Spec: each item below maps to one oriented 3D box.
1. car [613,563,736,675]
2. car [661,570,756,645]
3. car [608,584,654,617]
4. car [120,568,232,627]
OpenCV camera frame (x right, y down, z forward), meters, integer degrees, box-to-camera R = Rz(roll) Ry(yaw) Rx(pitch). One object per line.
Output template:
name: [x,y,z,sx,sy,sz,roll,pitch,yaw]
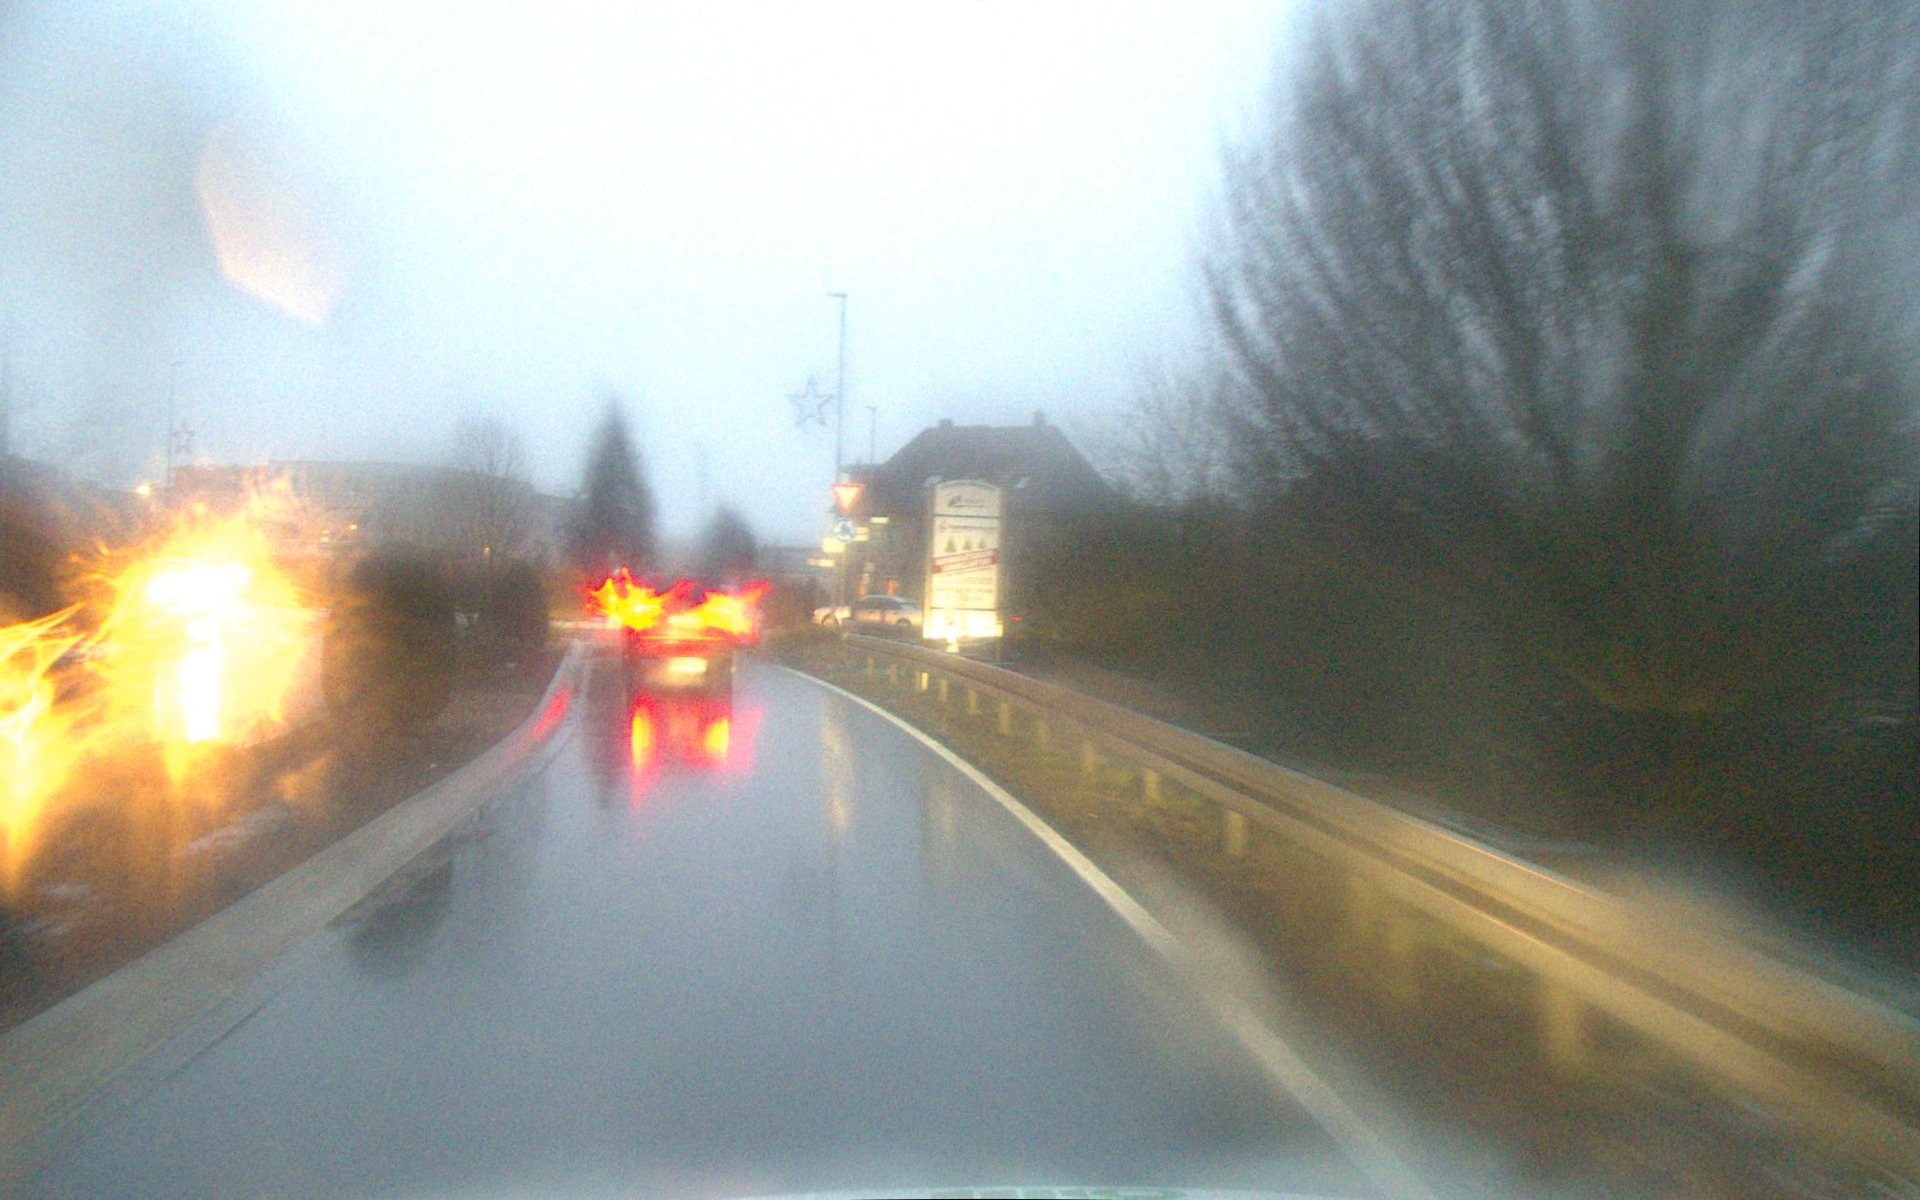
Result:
car: [-4.981,0.305,28.944,1.909,1.748,3.991,2,0,-10]
car: [-6.430,0.137,41.913,2.125,1.719,4.559,2,1,-11]
car: [-16.209,0.029,81.337,1.745,1.571,3.979,1,-1,-18]
car: [-21.138,-0.088,44.542,1.600,1.495,3.625,1,0,-45]
